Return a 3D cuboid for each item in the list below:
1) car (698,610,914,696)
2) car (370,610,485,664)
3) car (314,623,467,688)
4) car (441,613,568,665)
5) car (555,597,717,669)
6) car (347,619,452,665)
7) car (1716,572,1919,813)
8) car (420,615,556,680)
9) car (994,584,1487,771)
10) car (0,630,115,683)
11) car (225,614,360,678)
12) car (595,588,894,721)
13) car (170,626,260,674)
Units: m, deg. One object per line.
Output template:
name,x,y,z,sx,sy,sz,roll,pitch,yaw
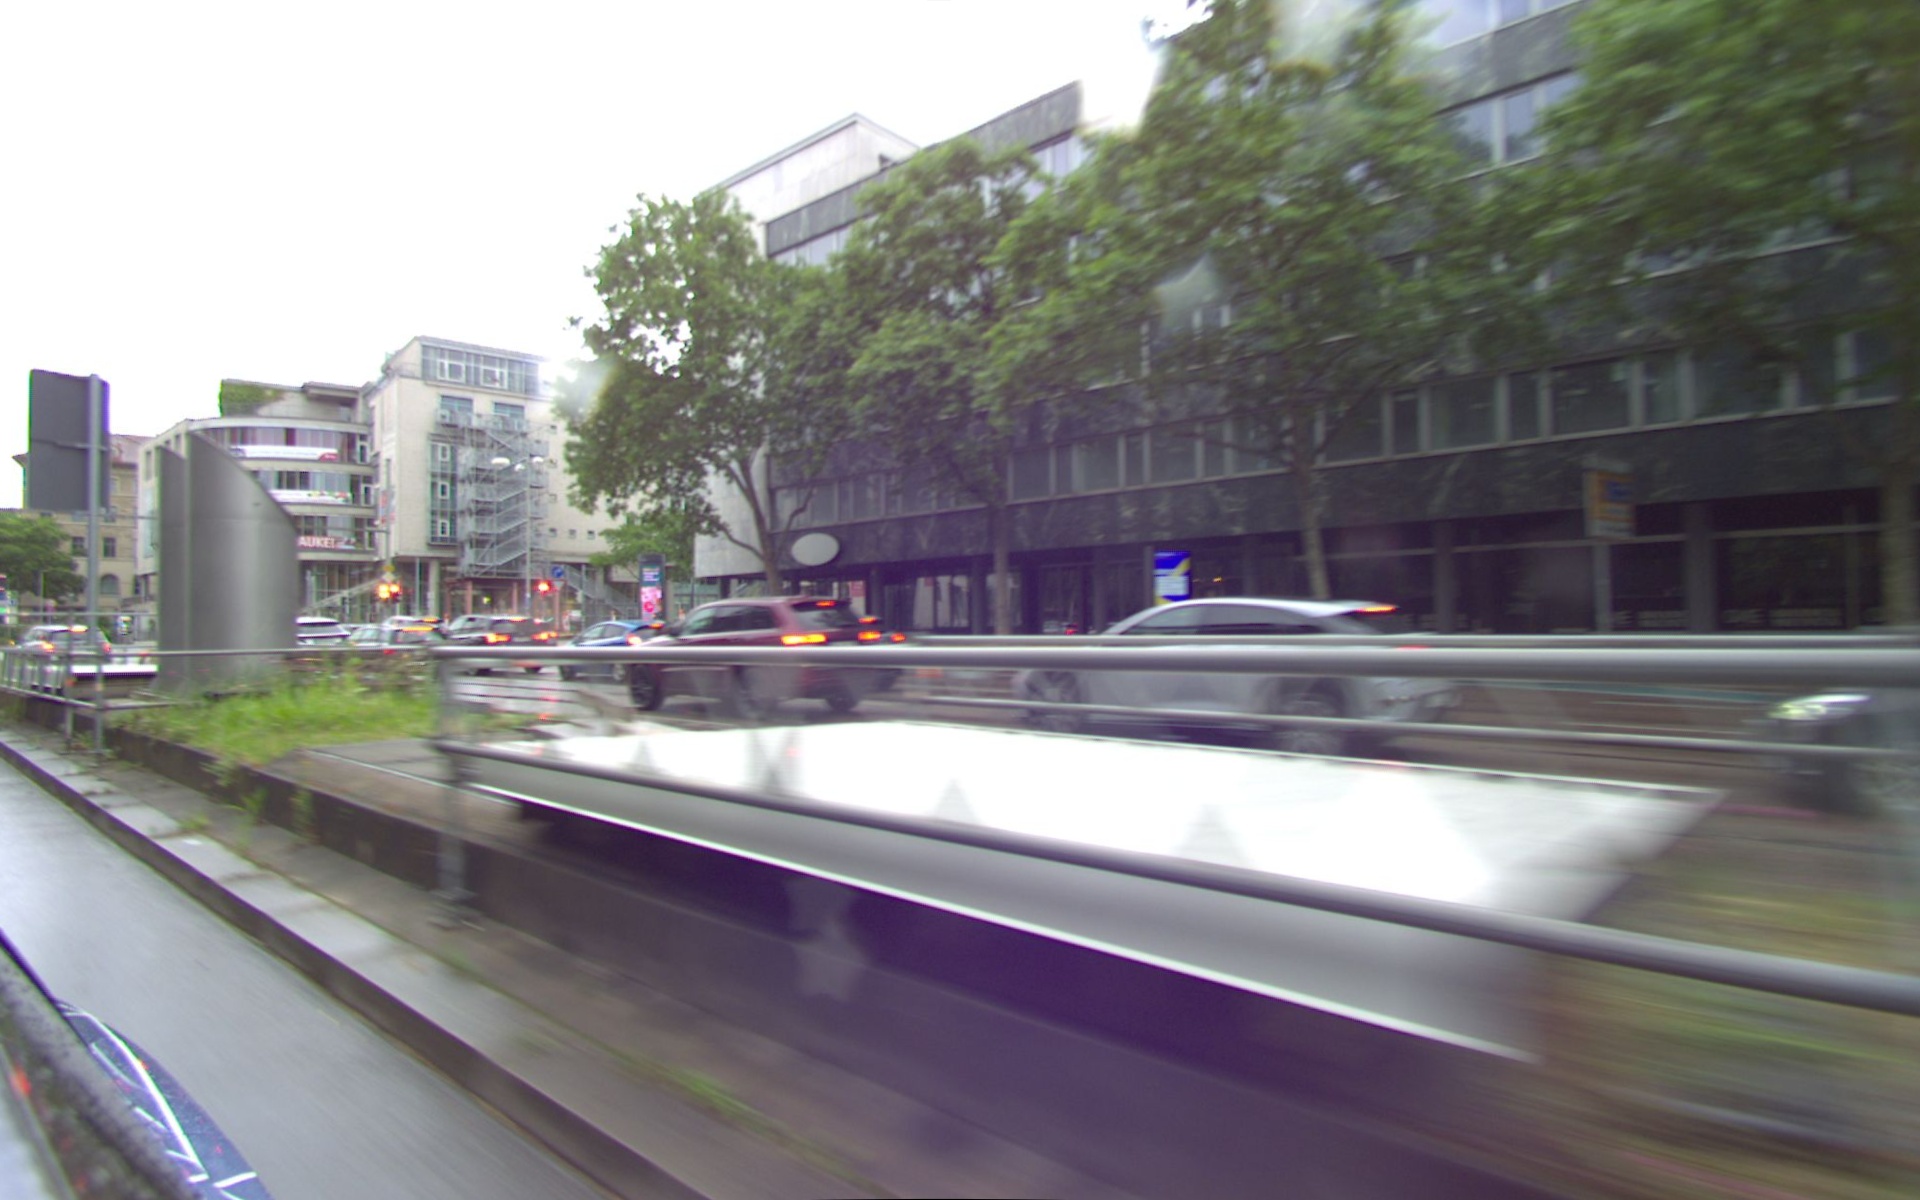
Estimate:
car,-3.160,1.006,20.108,4.567,1.502,1.701,-2,-1,41
car,-16.747,1.136,31.779,3.995,1.577,1.736,-1,-1,38
car,-14.408,1.356,25.476,4.914,1.462,1.824,-2,-1,41
car,-15.470,1.285,34.300,4.580,1.616,1.975,-1,-1,37
car,-7.746,0.754,24.024,3.995,1.577,1.736,-1,-1,38
car,-21.262,1.559,38.339,4.653,1.630,1.741,-1,-1,37
car,7.766,0.572,6.480,4.539,1.564,1.894,-2,-1,41
car,-13.310,1.308,28.437,4.409,1.678,1.824,-2,-1,41
car,2.770,0.719,10.852,4.830,1.585,1.716,-2,-1,42
car,-28.059,1.717,31.434,4.155,1.493,1.827,-2,-1,35
car,-19.477,1.316,29.448,4.791,1.698,1.859,-2,-1,38
car,-3.520,0.802,15.882,5.103,1.780,1.817,-2,-1,39
car,-24.576,1.621,33.351,3.429,1.487,1.699,-2,-1,41
